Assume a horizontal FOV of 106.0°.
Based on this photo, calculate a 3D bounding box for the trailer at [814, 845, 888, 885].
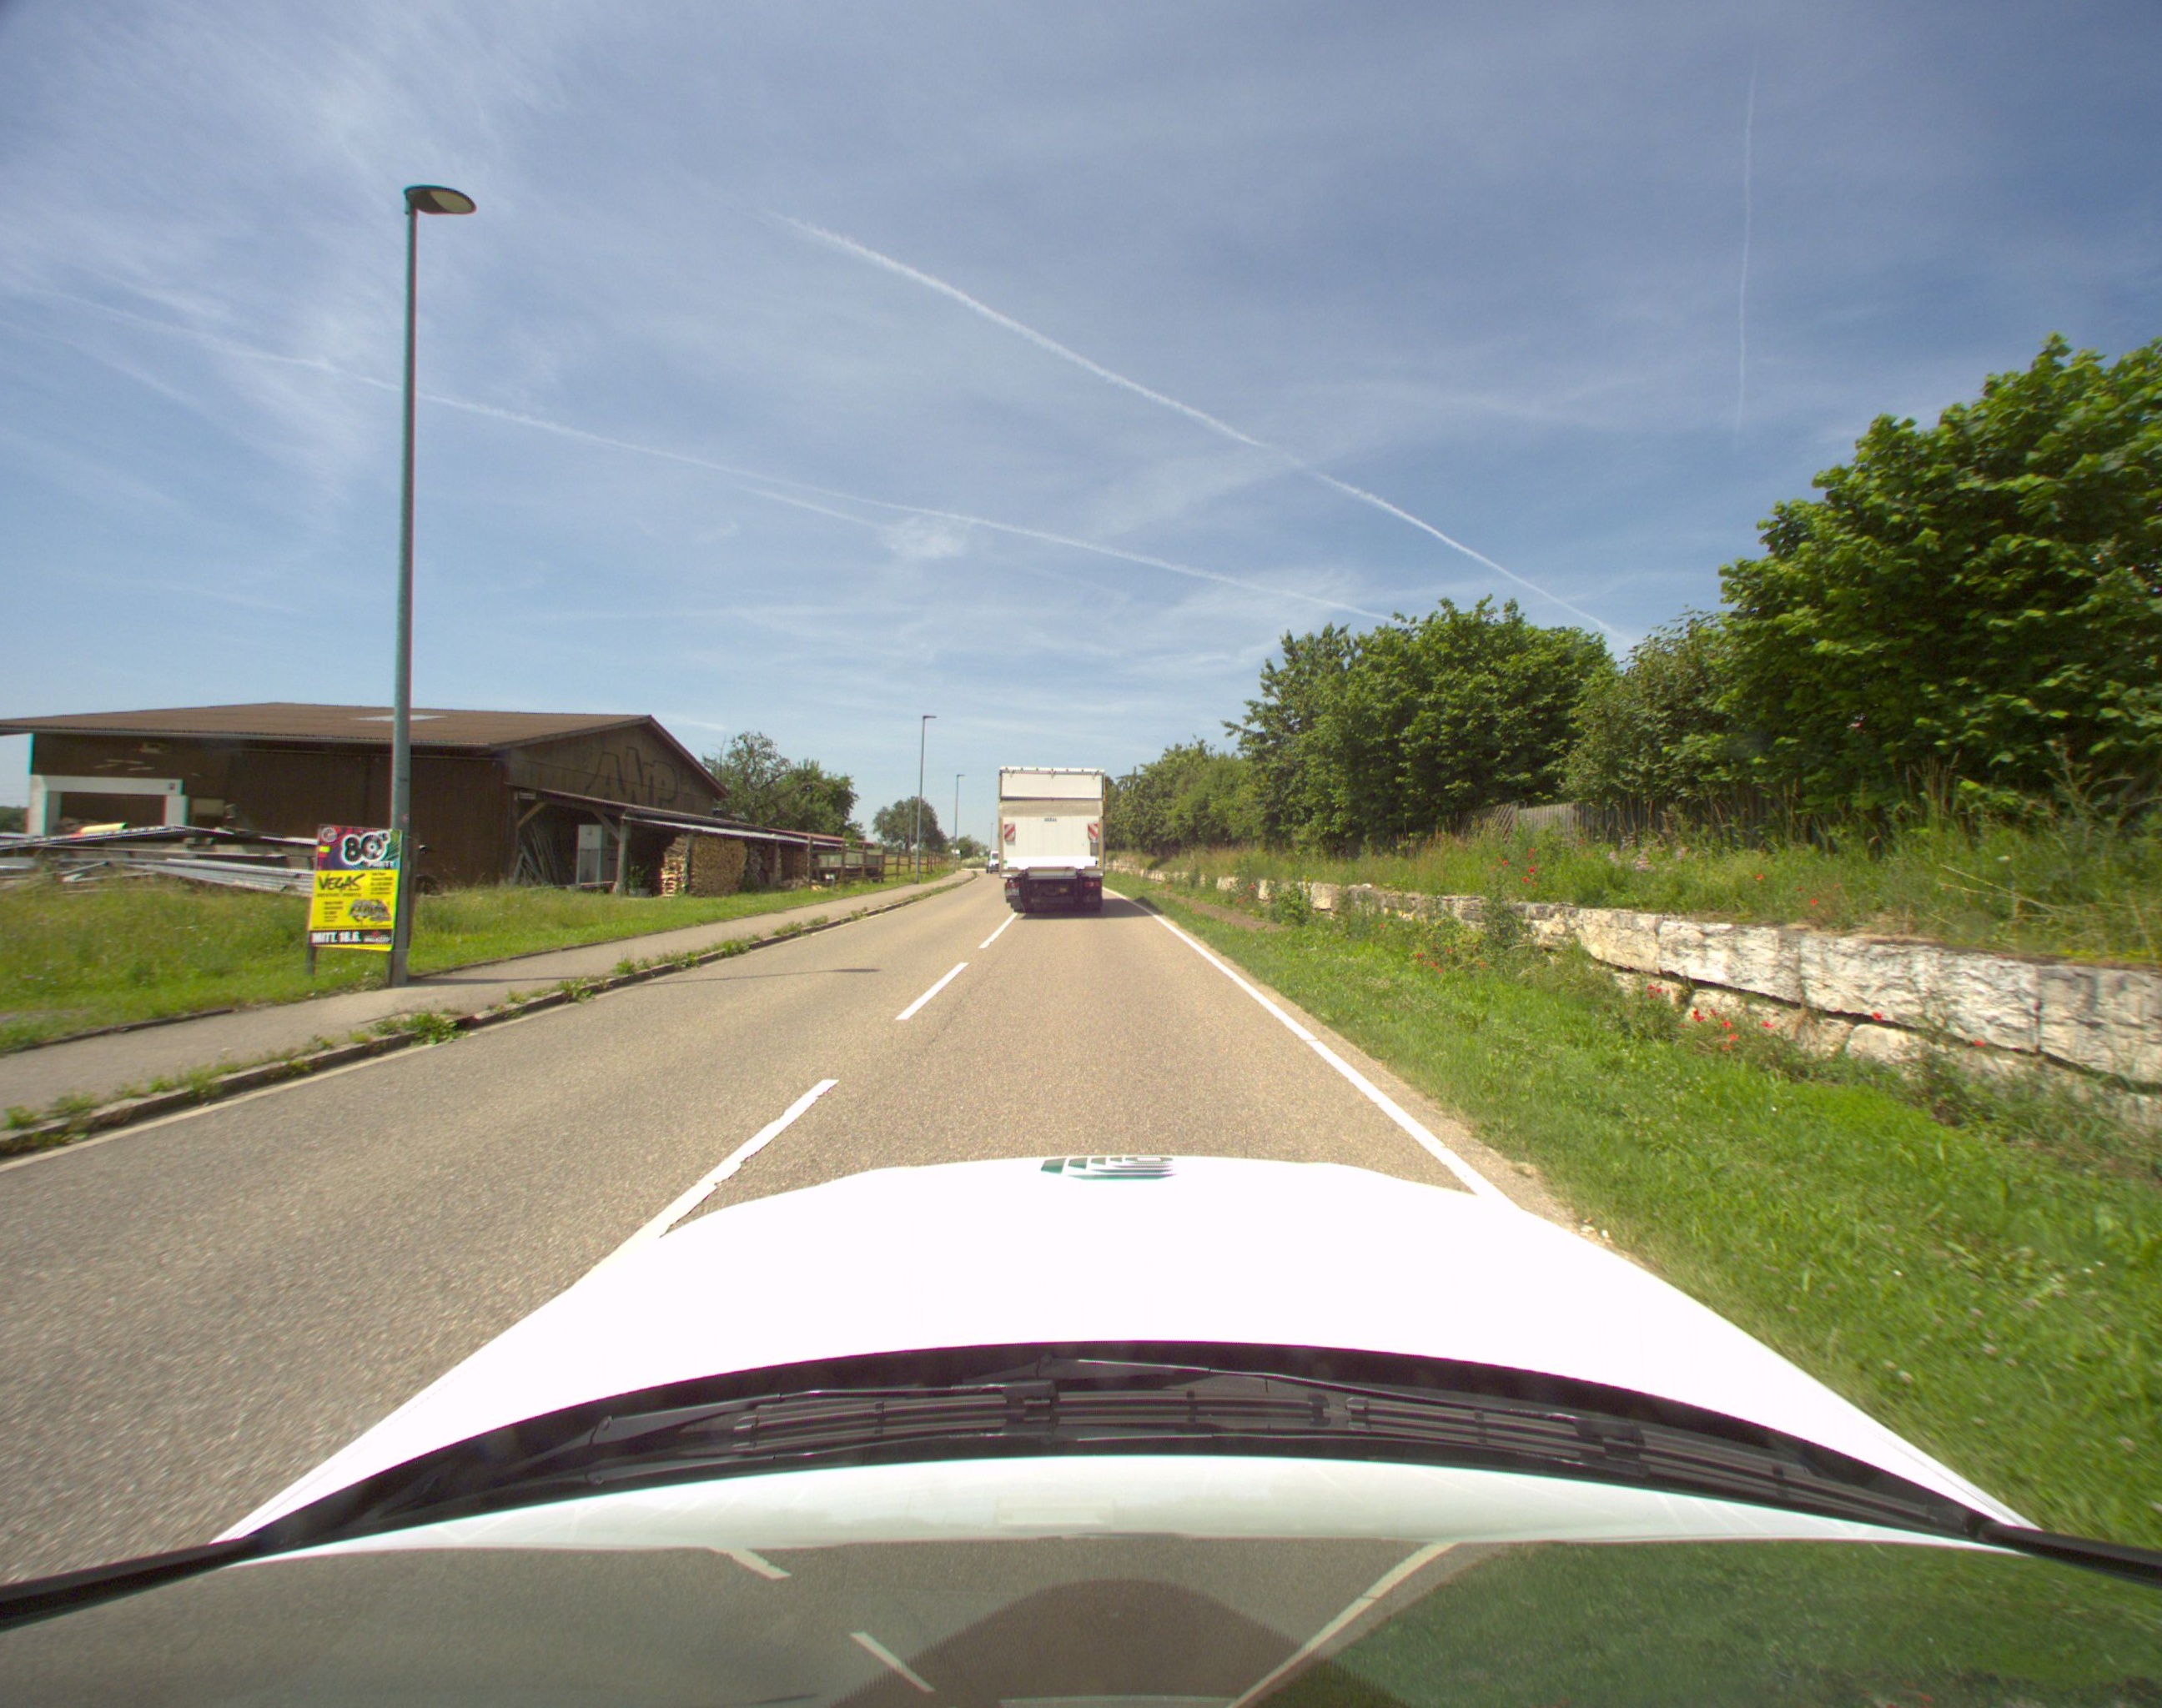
[{"bbox_3d":[-10.384,0.468,37.179,2.150,1.703,5.023,0,0,-3],"label":"trailer"}]

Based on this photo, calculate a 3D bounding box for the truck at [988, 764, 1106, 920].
[{"bbox_3d":[-0.715,-0.274,24.049,2.757,3.671,9.384,-1,0,1],"label":"truck"}]

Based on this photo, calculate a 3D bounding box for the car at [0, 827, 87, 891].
[{"bbox_3d":[-28.408,0.088,21.712,1.804,1.519,3.952,3,-1,-42],"label":"car"}]

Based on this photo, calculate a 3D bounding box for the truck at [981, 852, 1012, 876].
[{"bbox_3d":[-8.498,0.995,81.371,2.226,2.293,6.459,0,-1,-15],"label":"truck"}]
